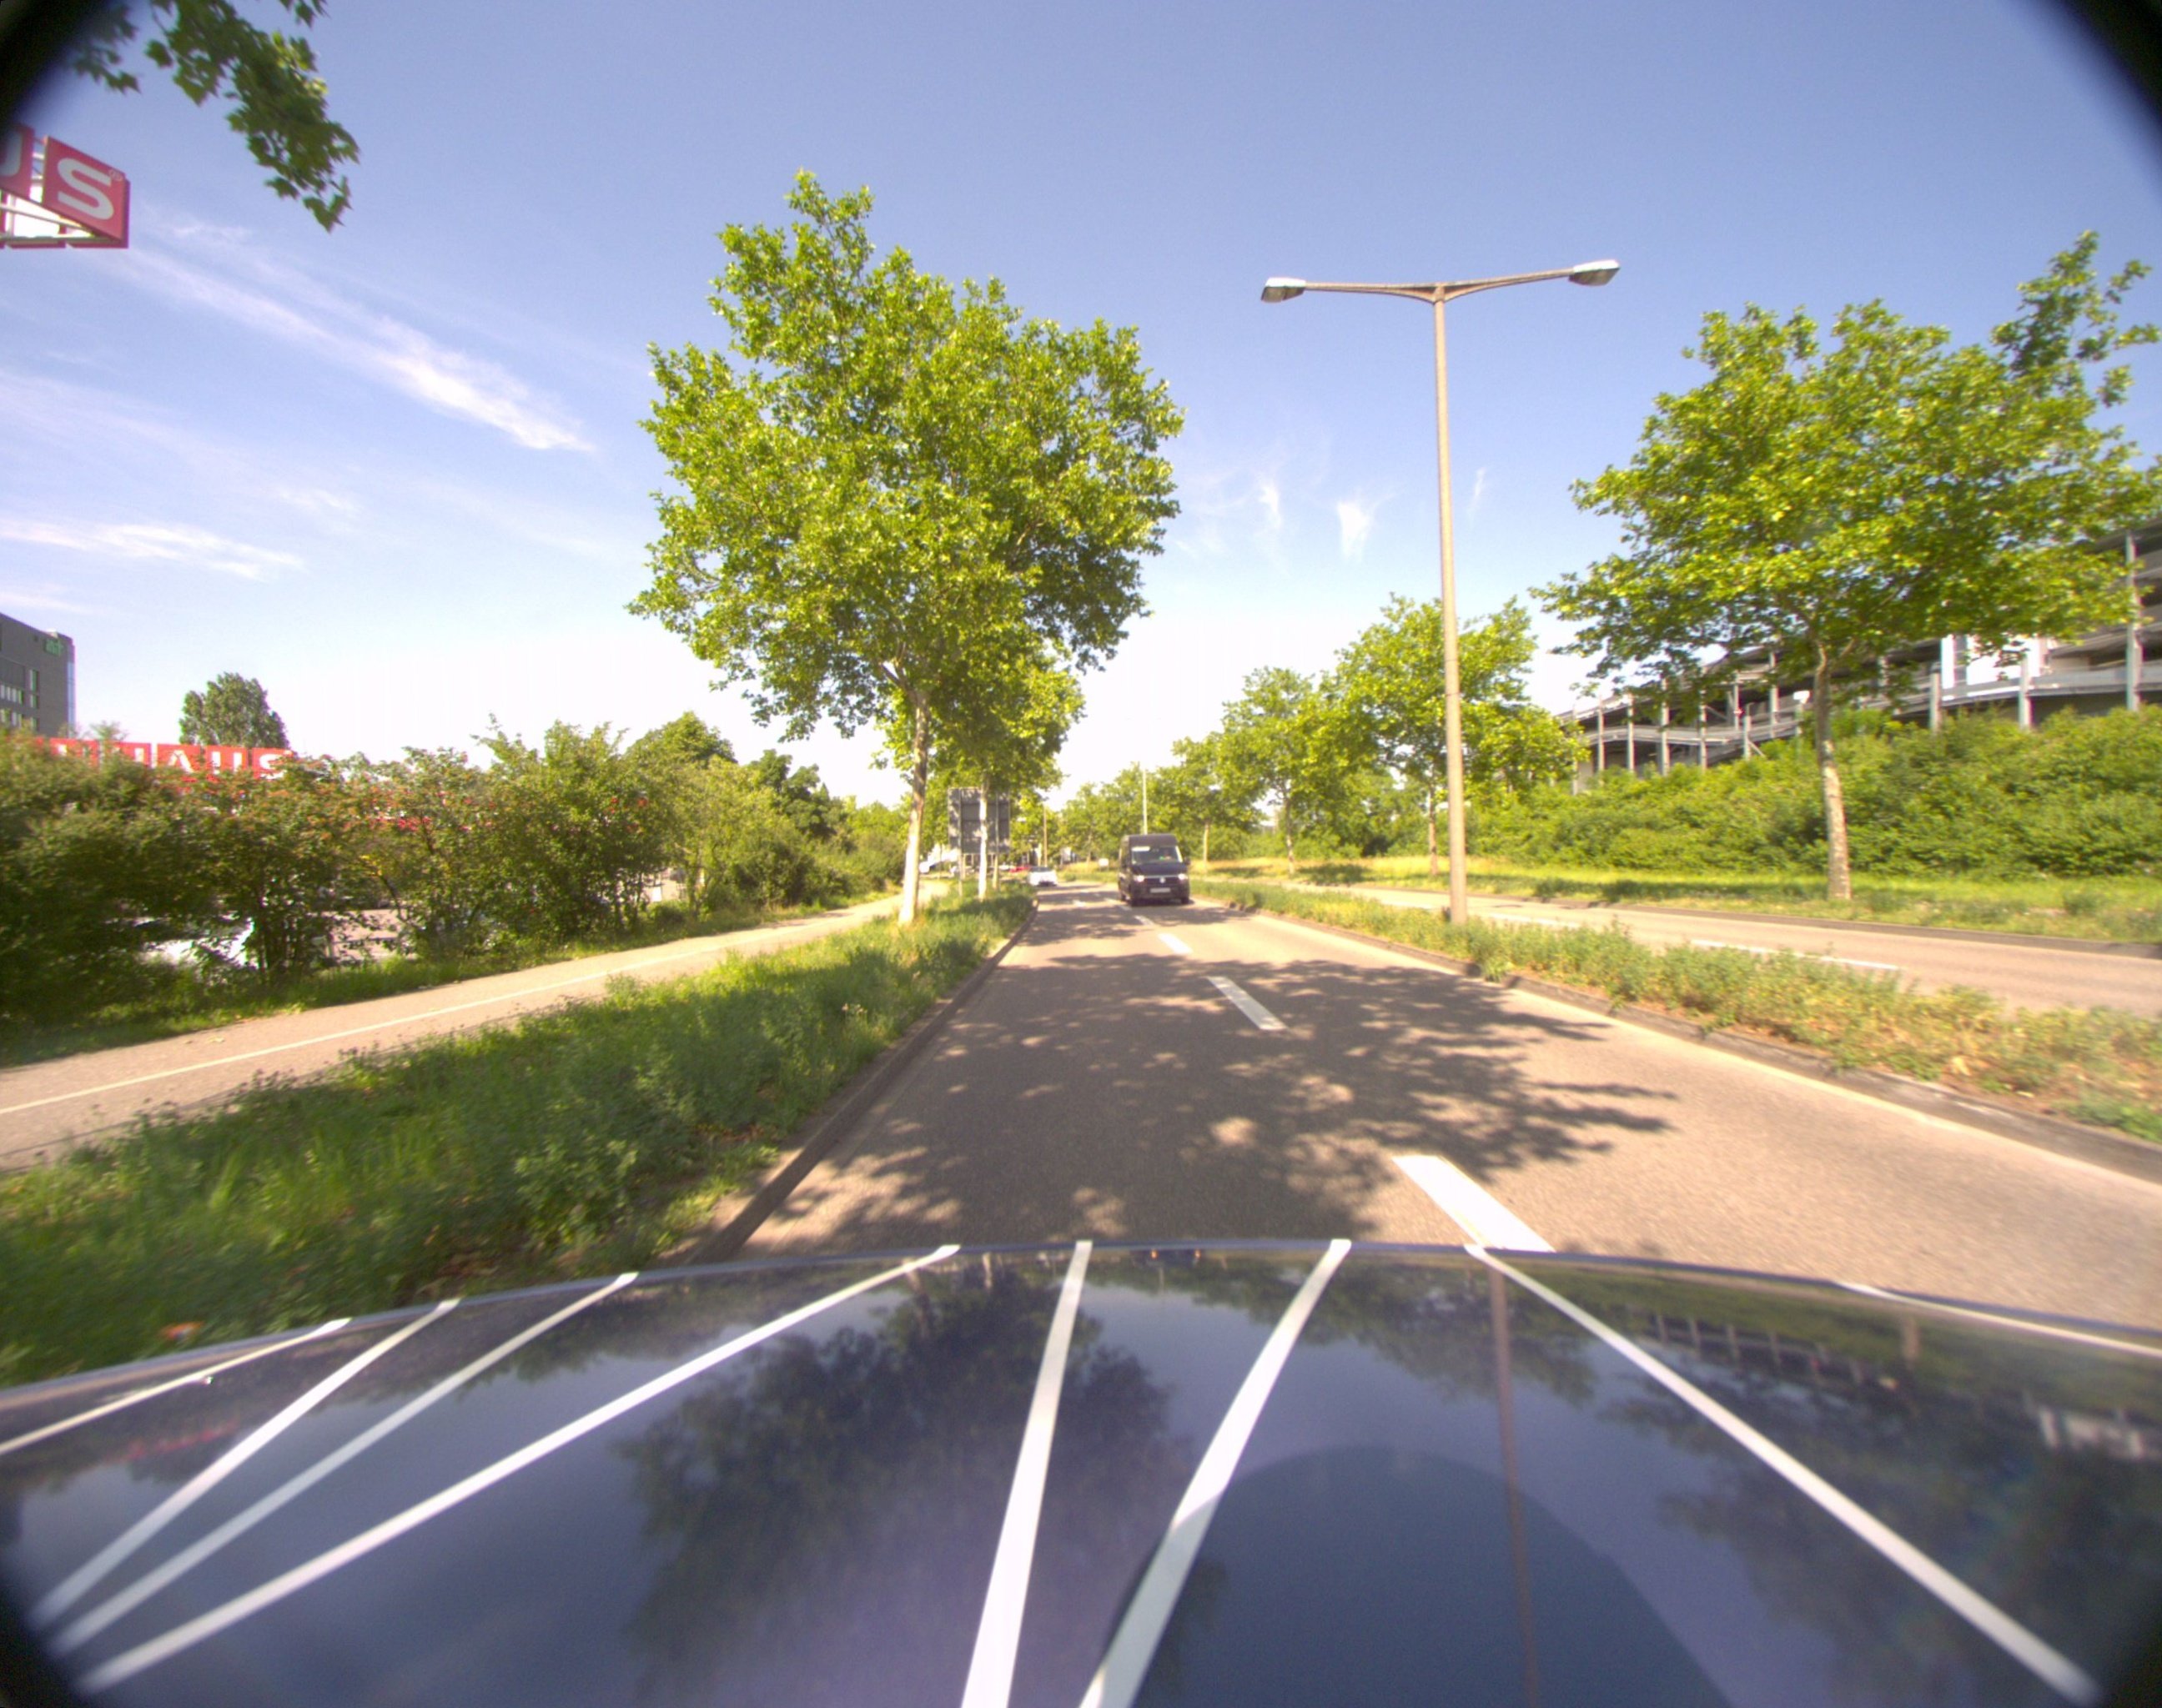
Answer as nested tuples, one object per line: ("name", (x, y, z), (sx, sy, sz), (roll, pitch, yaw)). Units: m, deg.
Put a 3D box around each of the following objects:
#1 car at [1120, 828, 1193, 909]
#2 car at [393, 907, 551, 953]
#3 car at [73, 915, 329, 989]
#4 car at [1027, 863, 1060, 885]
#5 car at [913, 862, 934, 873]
("car", (2.632, 0.475, 28.094), (2.021, 2.592, 6.168), (-2, 0, 0))
("car", (-19.227, 2.383, 24.115), (3.590, 1.216, 1.741), (-1, 0, 0))
("car", (-18.703, 2.060, 16.245), (3.970, 1.217, 1.195), (-3, 1, -1))
("car", (-2.921, 1.507, 58.354), (1.826, 1.512, 4.204), (-2, 0, -13))
("car", (-28.492, 2.457, 137.301), (2.003, 2.002, 4.505), (-2, 0, -37))
